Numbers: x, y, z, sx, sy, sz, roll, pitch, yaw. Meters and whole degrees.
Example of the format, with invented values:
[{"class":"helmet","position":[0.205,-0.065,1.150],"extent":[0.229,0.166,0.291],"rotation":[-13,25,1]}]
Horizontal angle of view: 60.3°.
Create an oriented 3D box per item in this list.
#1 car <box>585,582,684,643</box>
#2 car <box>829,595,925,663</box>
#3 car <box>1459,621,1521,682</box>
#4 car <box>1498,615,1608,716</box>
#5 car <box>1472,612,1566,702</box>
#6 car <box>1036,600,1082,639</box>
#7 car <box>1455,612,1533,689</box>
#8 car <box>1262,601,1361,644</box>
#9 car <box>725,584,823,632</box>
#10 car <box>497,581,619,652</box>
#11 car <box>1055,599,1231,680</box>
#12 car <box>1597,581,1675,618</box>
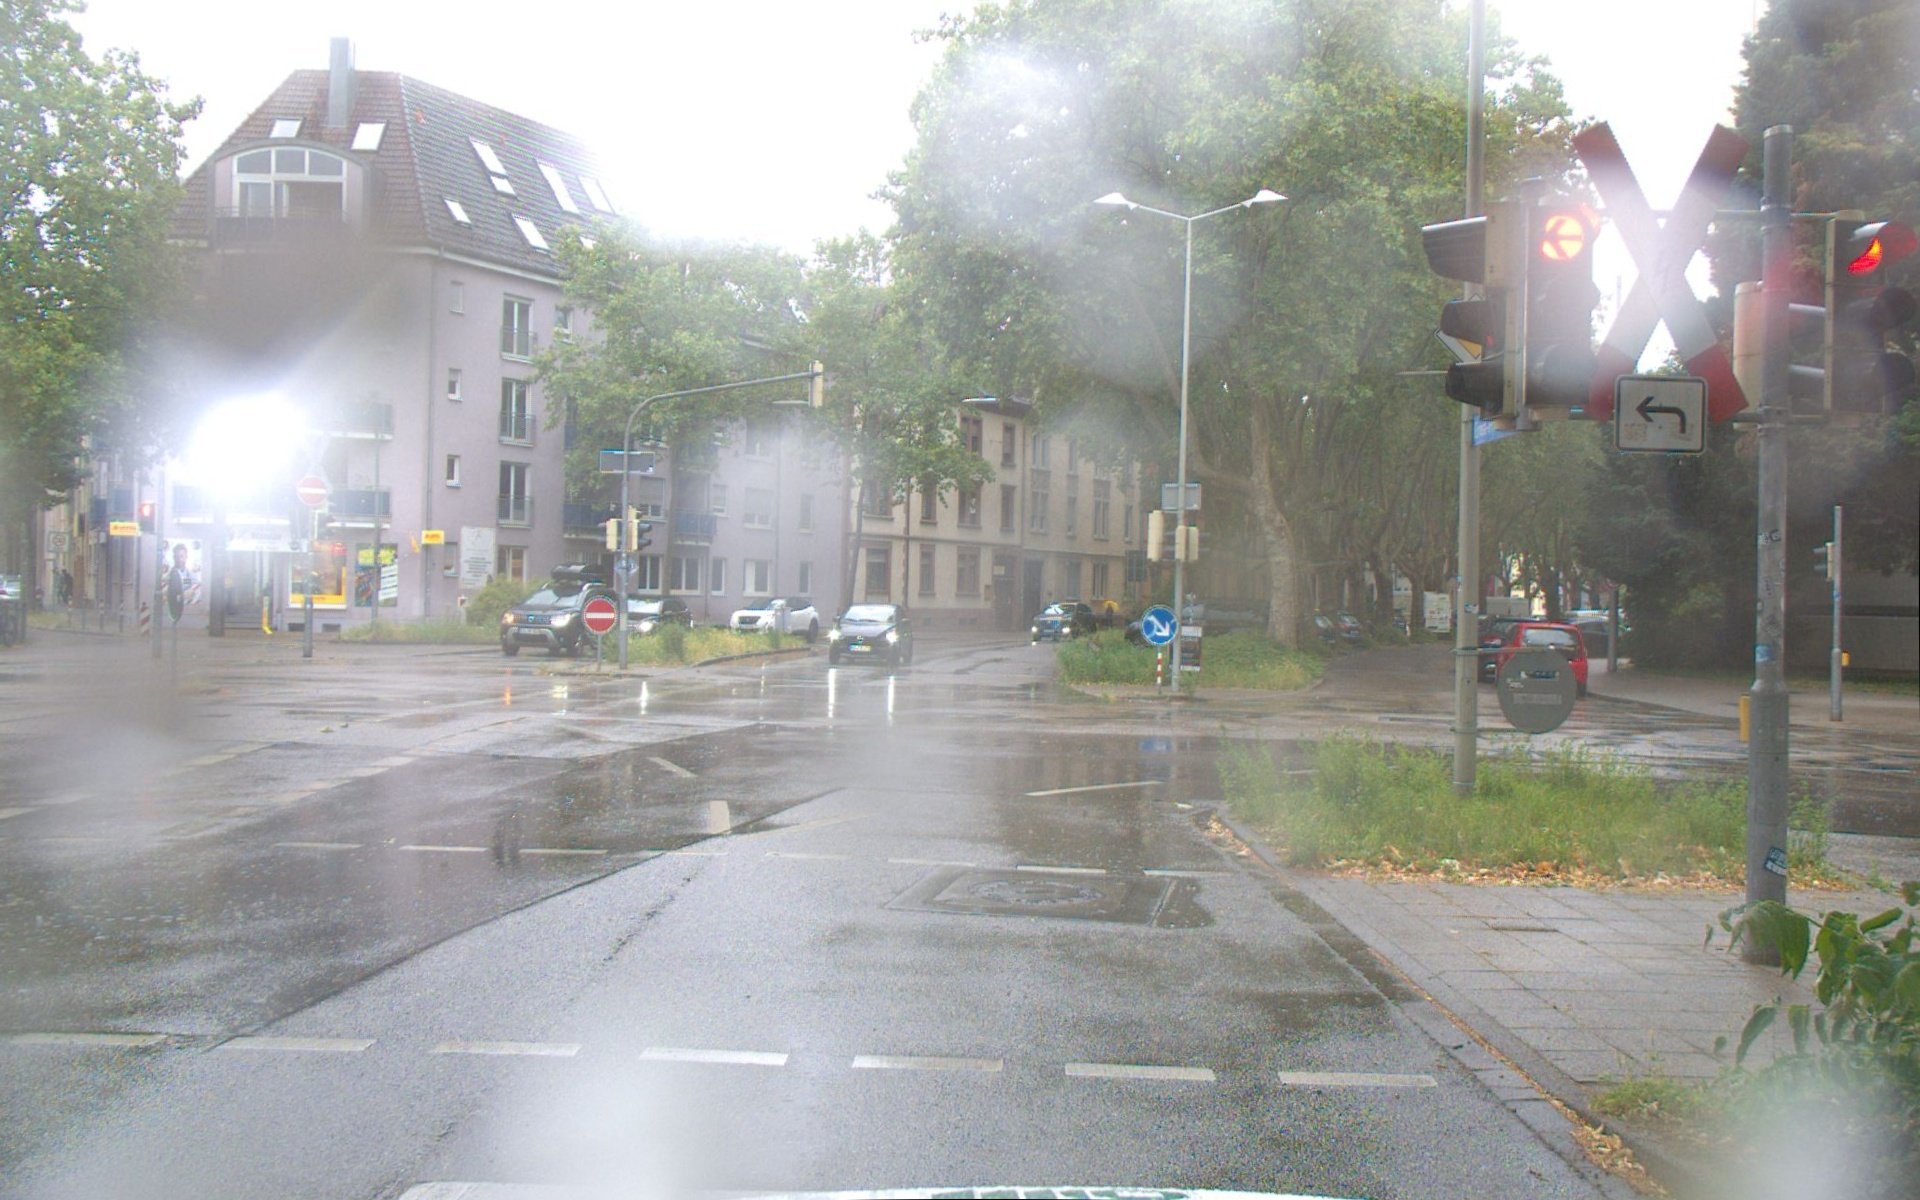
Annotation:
[{"class":"car","position":[-8.769,0.315,44.788],"extent":[1.688,1.579,3.562],"rotation":[-1,0,5]},{"class":"car","position":[-1.973,0.672,40.415],"extent":[1.568,1.579,3.563],"rotation":[0,0,10]},{"class":"car","position":[19.142,1.823,59.866],"extent":[1.951,2.049,4.003],"rotation":[0,0,15]},{"class":"car","position":[13.083,1.395,36.693],"extent":[1.951,2.049,4.003],"rotation":[0,0,15]},{"class":"car","position":[13.814,1.362,41.038],"extent":[1.951,2.049,4.003],"rotation":[0,0,15]},{"class":"car","position":[4.188,0.802,69.725],"extent":[1.568,1.579,3.563],"rotation":[0,0,9]},{"class":"car","position":[15.468,1.424,48.103],"extent":[1.951,2.049,4.003],"rotation":[0,0,15]},{"class":"car","position":[13.973,0.891,65.795],"extent":[3.537,1.646,1.679],"rotation":[0,0,28]},{"class":"car","position":[-6.303,0.255,56.599],"extent":[1.642,1.579,4.200],"rotation":[0,0,20]},{"class":"car","position":[-9.331,0.358,38.642],"extent":[1.688,1.579,3.562],"rotation":[-1,0,5]},{"class":"car","position":[3.662,0.772,33.039],"extent":[3.405,1.550,1.521],"rotation":[0,0,8]},{"class":"car","position":[37.781,-0.036,92.488],"extent":[3.903,2.049,1.708],"rotation":[0,0,19]}]
